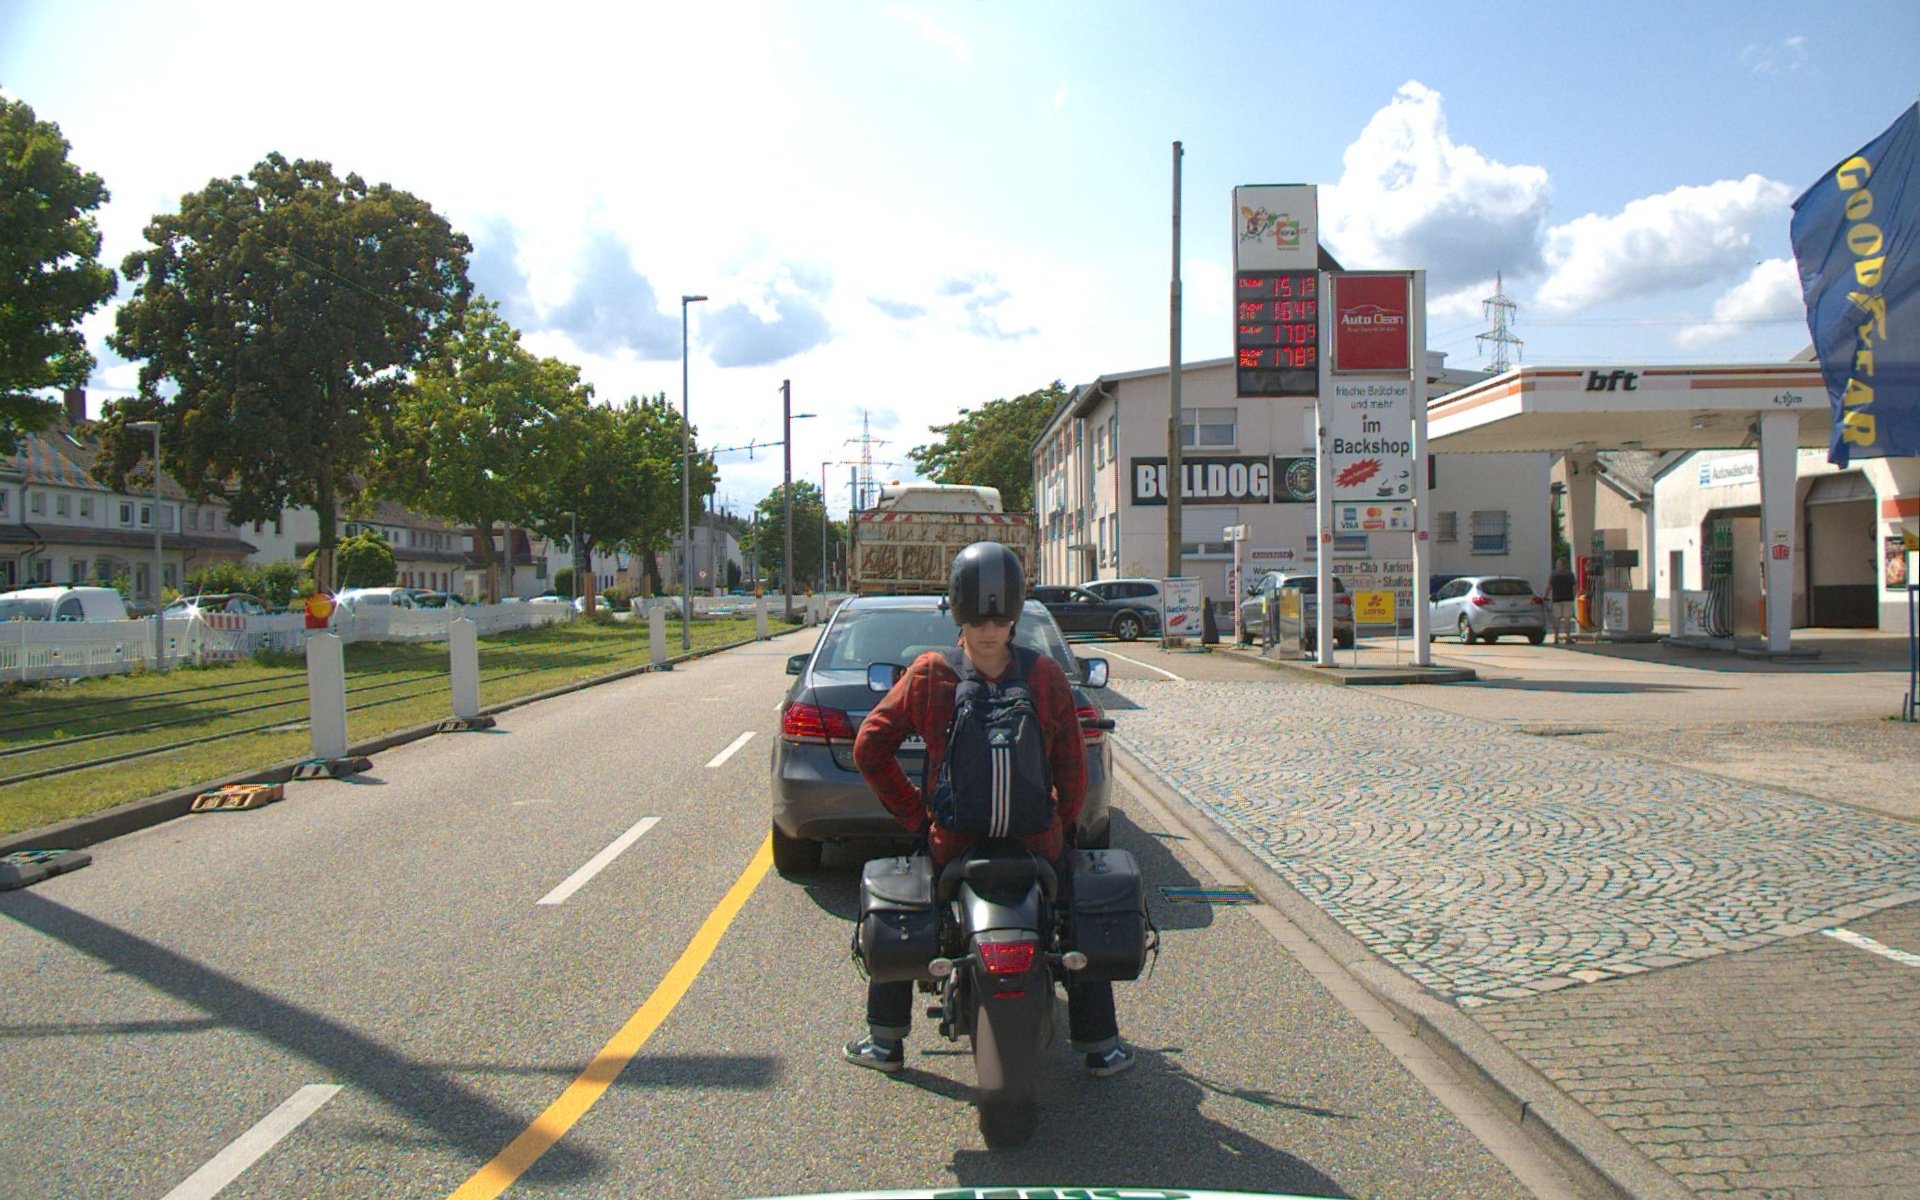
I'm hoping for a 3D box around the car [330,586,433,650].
[{"bbox_3d":[-16.936,0.497,48.608,1.664,1.770,3.860,-1,0,-1],"label":"car"}]

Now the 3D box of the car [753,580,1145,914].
[{"bbox_3d":[-0.110,0.664,9.690,1.795,1.505,4.008,-1,0,-2],"label":"car"}]

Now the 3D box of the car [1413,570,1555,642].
[{"bbox_3d":[11.770,0.104,37.415,1.795,1.505,4.008,-1,0,-2],"label":"car"}]

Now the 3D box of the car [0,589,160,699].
[{"bbox_3d":[-16.419,0.746,30.287,1.664,1.849,3.860,-1,0,-1],"label":"car"}]

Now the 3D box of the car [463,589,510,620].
[{"bbox_3d":[-28.067,0.264,98.138,1.664,1.770,4.061,-1,0,-1],"label":"car"}]

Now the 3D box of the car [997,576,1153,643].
[{"bbox_3d":[3.014,0.231,43.715,4.019,1.652,1.686,-1,0,2],"label":"car"}]

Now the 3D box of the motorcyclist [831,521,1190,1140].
[{"bbox_3d":[0.128,0.619,5.070,0.950,1.662,1.214,1,0,-1],"label":"motorcyclist"}]

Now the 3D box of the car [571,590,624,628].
[{"bbox_3d":[-17.392,0.409,79.483,1.664,1.770,3.860,-1,0,-1],"label":"car"}]

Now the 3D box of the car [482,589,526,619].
[{"bbox_3d":[-28.670,0.235,104.140,1.664,1.770,4.061,-1,0,-1],"label":"car"}]

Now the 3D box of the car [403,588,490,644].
[{"bbox_3d":[-17.022,0.500,54.974,1.664,1.770,3.860,-1,0,-1],"label":"car"}]

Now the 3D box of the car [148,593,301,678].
[{"bbox_3d":[-16.675,0.760,37.711,1.664,1.770,4.053,-1,0,-1],"label":"car"}]

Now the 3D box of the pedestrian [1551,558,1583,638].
[{"bbox_3d":[13.133,-0.046,35.786,0.621,1.712,0.622,-1,0,20],"label":"pedestrian"}]

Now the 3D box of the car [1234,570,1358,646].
[{"bbox_3d":[7.399,0.144,36.749,1.795,1.562,4.008,-1,0,-2],"label":"car"}]

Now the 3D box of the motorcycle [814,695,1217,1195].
[{"bbox_3d":[0.117,0.901,5.188,0.956,1.031,2.431,1,0,-1],"label":"motorcycle"}]

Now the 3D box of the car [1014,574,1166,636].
[{"bbox_3d":[3.668,0.120,47.078,4.029,1.652,1.682,-1,0,-9],"label":"car"}]

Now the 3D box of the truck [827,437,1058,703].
[{"bbox_3d":[-0.357,-0.420,25.463,2.910,3.362,8.404,-1,0,-2],"label":"truck"}]

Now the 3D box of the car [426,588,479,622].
[{"bbox_3d":[-28.186,0.249,91.928,1.664,1.770,4.061,-1,0,-1],"label":"car"}]
